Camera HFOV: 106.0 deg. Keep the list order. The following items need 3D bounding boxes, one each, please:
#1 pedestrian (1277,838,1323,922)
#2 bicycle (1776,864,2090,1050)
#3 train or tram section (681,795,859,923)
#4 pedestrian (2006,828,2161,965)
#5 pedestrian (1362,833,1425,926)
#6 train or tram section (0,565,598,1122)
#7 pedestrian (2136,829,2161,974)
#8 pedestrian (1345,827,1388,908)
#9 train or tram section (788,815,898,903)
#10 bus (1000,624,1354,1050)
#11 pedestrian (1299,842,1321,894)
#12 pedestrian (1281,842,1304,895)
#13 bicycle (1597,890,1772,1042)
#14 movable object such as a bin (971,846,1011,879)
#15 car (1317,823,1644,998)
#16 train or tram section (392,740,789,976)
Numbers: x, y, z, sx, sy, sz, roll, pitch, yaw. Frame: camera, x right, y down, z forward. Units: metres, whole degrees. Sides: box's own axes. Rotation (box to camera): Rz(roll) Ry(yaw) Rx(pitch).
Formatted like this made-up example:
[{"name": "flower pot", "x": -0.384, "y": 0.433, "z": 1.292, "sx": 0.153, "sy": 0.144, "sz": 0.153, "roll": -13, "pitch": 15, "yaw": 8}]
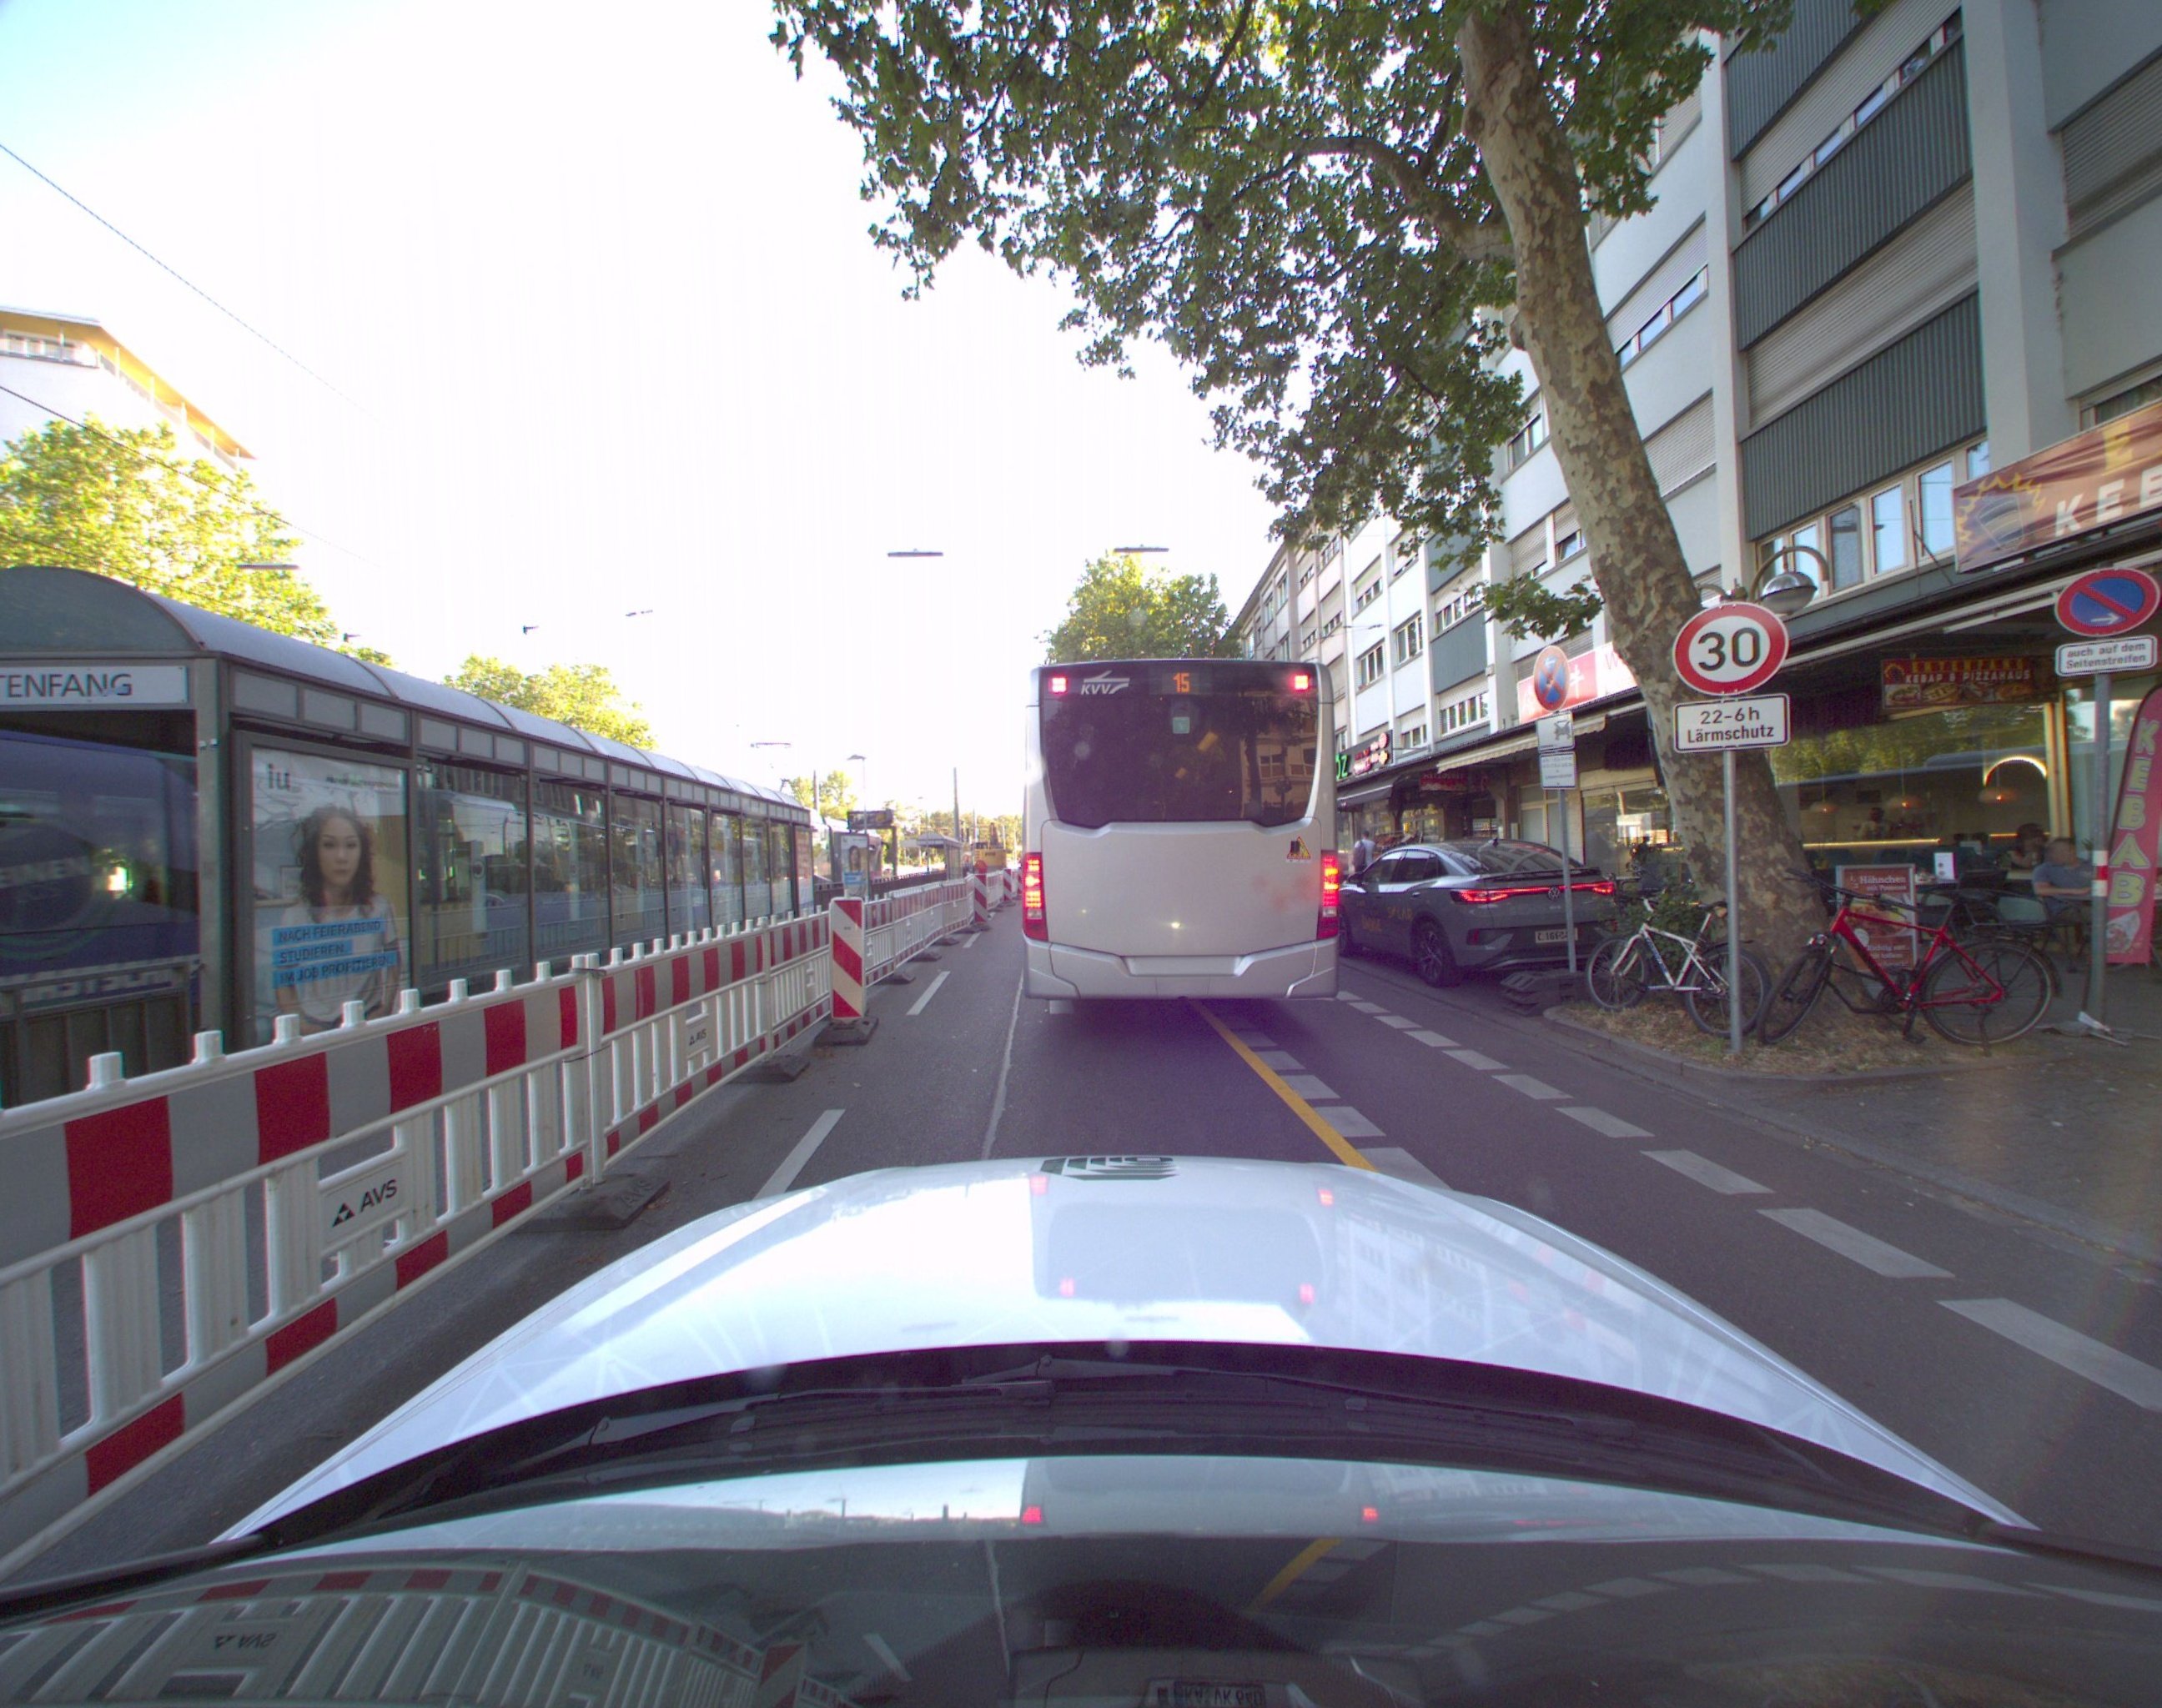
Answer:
[{"name": "pedestrian", "x": 4.639, "y": 0.547, "z": 17.277, "sx": 0.750, "sy": 1.726, "sz": 0.660, "roll": -2, "pitch": -1, "yaw": -1}, {"name": "bicycle", "x": 5.493, "y": 0.676, "z": 5.304, "sx": 1.450, "sy": 1.066, "sz": 0.297, "roll": -6, "pitch": 2, "yaw": 13}, {"name": "train or tram section", "x": -10.012, "y": 0.184, "z": 27.754, "sx": 2.831, "sy": 3.487, "sz": 10.320, "roll": -2, "pitch": 0, "yaw": -5}, {"name": "pedestrian", "x": 9.623, "y": 0.390, "z": 7.781, "sx": 0.673, "sy": 1.203, "sz": 0.706, "roll": -5, "pitch": -1, "yaw": 11}, {"name": "pedestrian", "x": 5.552, "y": 0.445, "z": 14.465, "sx": 0.742, "sy": 1.581, "sz": 0.882, "roll": -3, "pitch": -1, "yaw": 40}, {"name": "train or tram section", "x": -8.378, "y": -0.016, "z": 7.203, "sx": 2.831, "sy": 3.487, "sz": 10.318, "roll": -2, "pitch": 0, "yaw": -5}, {"name": "pedestrian", "x": 9.560, "y": 0.393, "z": 6.744, "sx": 0.612, "sy": 1.243, "sz": 0.714, "roll": -5, "pitch": -1, "yaw": 11}, {"name": "pedestrian", "x": 7.374, "y": 0.355, "z": 21.064, "sx": 0.766, "sy": 2.013, "sz": 0.714, "roll": -3, "pitch": -1, "yaw": 2}, {"name": "train or tram section", "x": -10.760, "y": 0.254, "z": 38.041, "sx": 2.811, "sy": 3.487, "sz": 10.320, "roll": -2, "pitch": 0, "yaw": -5}, {"name": "bus", "x": 0.918, "y": -0.117, "z": 11.298, "sx": 2.598, "sy": 3.170, "sz": 10.297, "roll": -1, "pitch": 0, "yaw": 2}, {"name": "pedestrian", "x": 8.951, "y": 0.538, "z": 31.820, "sx": 0.610, "sy": 2.014, "sz": 0.696, "roll": -2, "pitch": -1, "yaw": 1}, {"name": "pedestrian", "x": 8.261, "y": 0.551, "z": 31.823, "sx": 0.688, "sy": 2.014, "sz": 0.696, "roll": -2, "pitch": -1, "yaw": 1}, {"name": "bicycle", "x": 4.480, "y": 0.789, "z": 6.123, "sx": 0.294, "sy": 0.927, "sz": 1.127, "roll": -6, "pitch": 2, "yaw": -8}, {"name": "movable object such as a bin", "x": -7.031, "y": 0.649, "z": 63.945, "sx": 2.800, "sy": 2.462, "sz": 3.995, "roll": -2, "pitch": 0, "yaw": -3}, {"name": "car", "x": 4.589, "y": 0.568, "z": 10.208, "sx": 1.736, "sy": 1.597, "sz": 4.294, "roll": -4, "pitch": 0, "yaw": -3}, {"name": "train or tram section", "x": -9.235, "y": 0.082, "z": 17.454, "sx": 2.866, "sy": 3.487, "sz": 10.321, "roll": -2, "pitch": 0, "yaw": -4}]
